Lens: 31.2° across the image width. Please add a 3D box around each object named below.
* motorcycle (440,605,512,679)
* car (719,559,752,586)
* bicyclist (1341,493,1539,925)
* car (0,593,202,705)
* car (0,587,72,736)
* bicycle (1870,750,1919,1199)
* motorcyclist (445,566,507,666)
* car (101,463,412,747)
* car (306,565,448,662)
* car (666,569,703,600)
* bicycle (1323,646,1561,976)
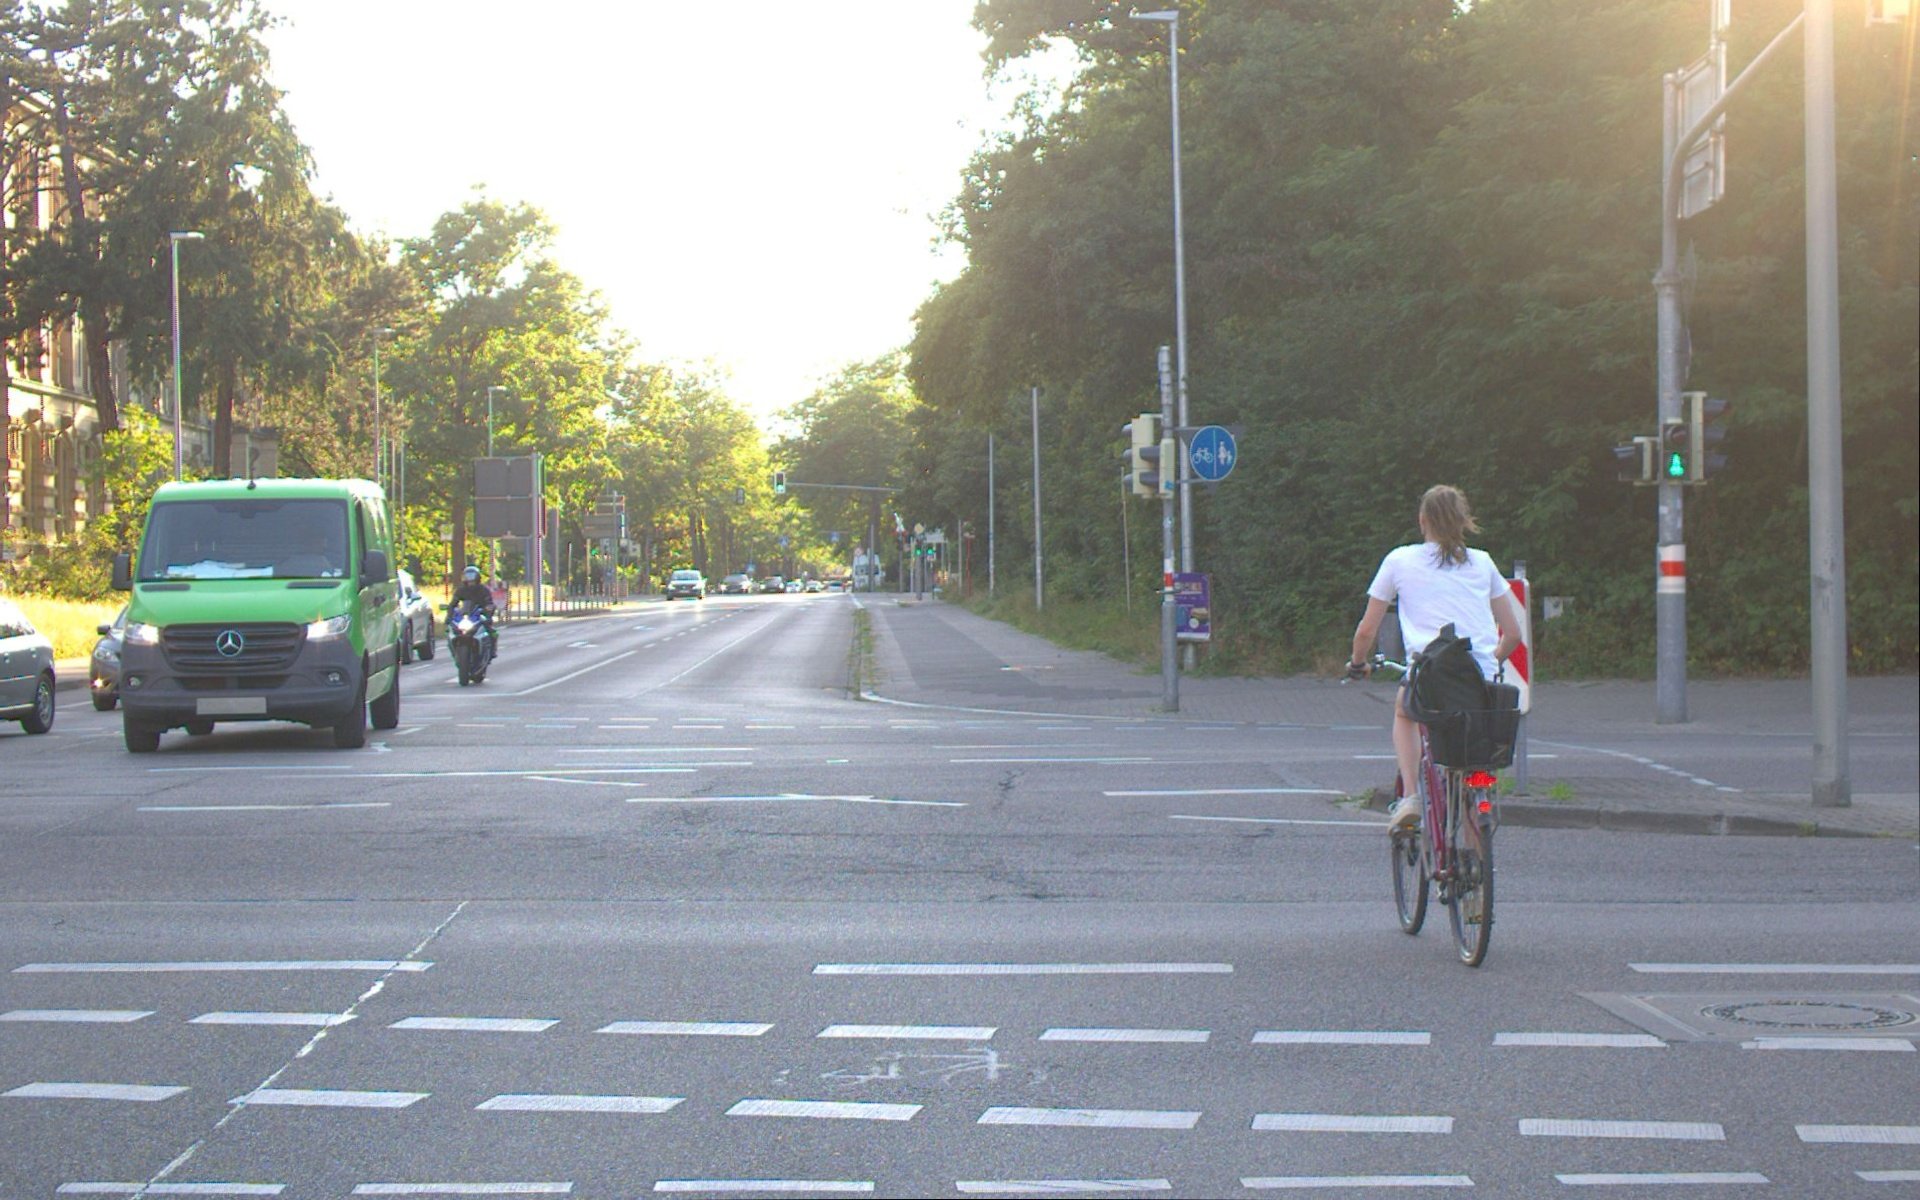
[{"bbox_3d":[-6.661,0.578,47.396,0.754,0.998,1.879,-1,-1,-1],"label":"motorcycle"},{"bbox_3d":[-14.116,-1.731,216.300,1.993,1.634,4.001,-1,0,-4],"label":"car"},{"bbox_3d":[1.811,0.397,13.066,0.603,1.580,0.910,0,0,-1],"label":"bicyclist"},{"bbox_3d":[-10.984,0.599,44.074,1.764,1.323,3.643,-1,0,-1],"label":"car"},{"bbox_3d":[-9.977,0.597,32.818,1.730,1.404,4.139,-1,0,3],"label":"car"},{"bbox_3d":[2.576,0.904,7.473,0.698,1.059,1.825,1,0,0],"label":"bicycle"},{"bbox_3d":[-6.664,0.217,47.346,0.749,1.353,0.704,-1,0,-1],"label":"motorcyclist"},{"bbox_3d":[-6.156,0.017,30.764,2.038,2.270,5.942,-1,0,-5],"label":"car"},{"bbox_3d":[-10.282,0.213,60.895,1.764,1.630,4.513,-1,0,-1],"label":"car"},{"bbox_3d":[-13.655,-0.779,170.294,1.770,1.469,3.776,-1,0,-5],"label":"car"},{"bbox_3d":[1.819,0.764,13.208,0.613,1.134,1.884,0,0,-1],"label":"bicycle"}]
